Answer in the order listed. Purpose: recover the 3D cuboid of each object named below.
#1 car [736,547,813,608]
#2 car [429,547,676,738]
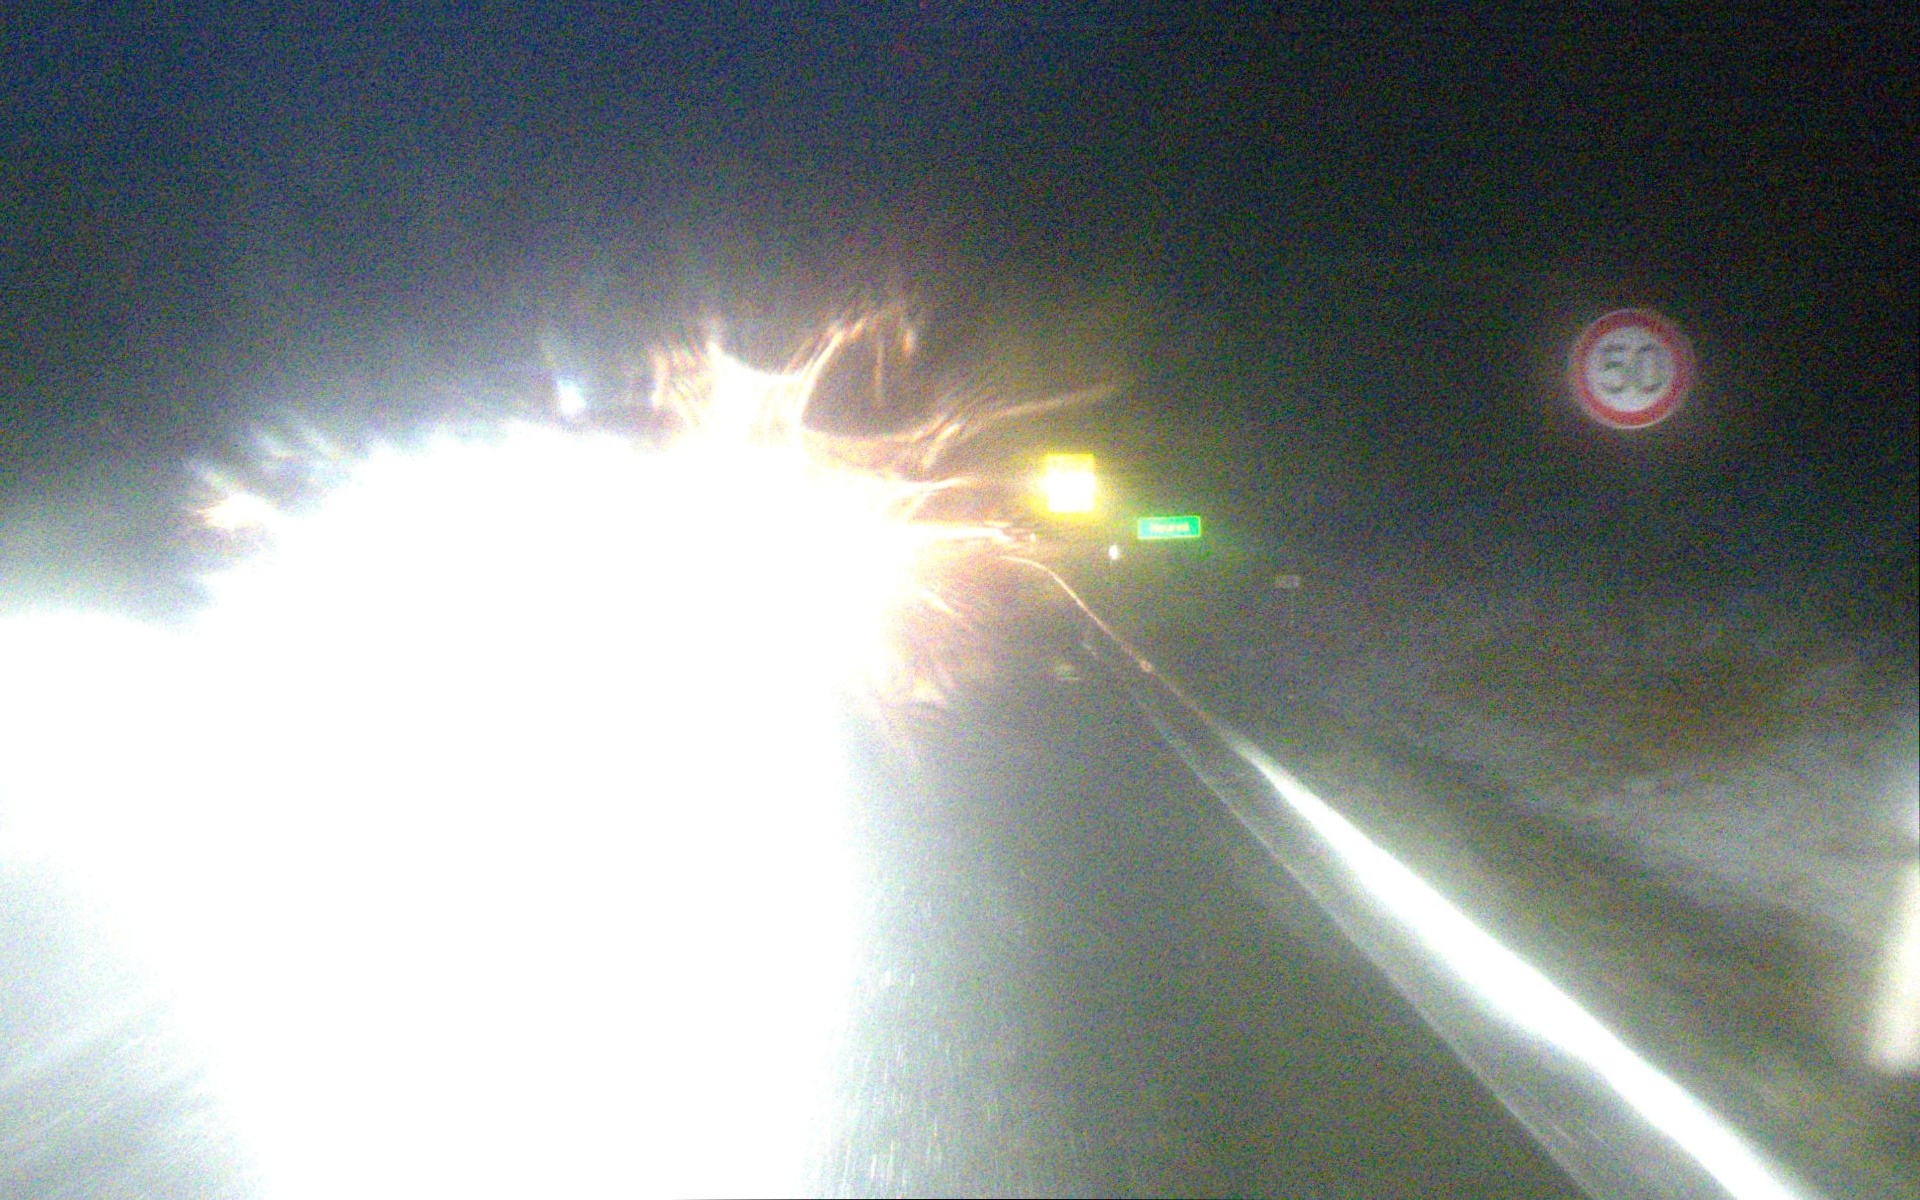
[{"bbox_3d":[-7.674,-0.925,142.894,2.752,2.261,6.262,-5,0,-1],"label":"car"},{"bbox_3d":[-3.798,0.339,32.698,1.781,1.661,4.472,0,1,0],"label":"car"}]
